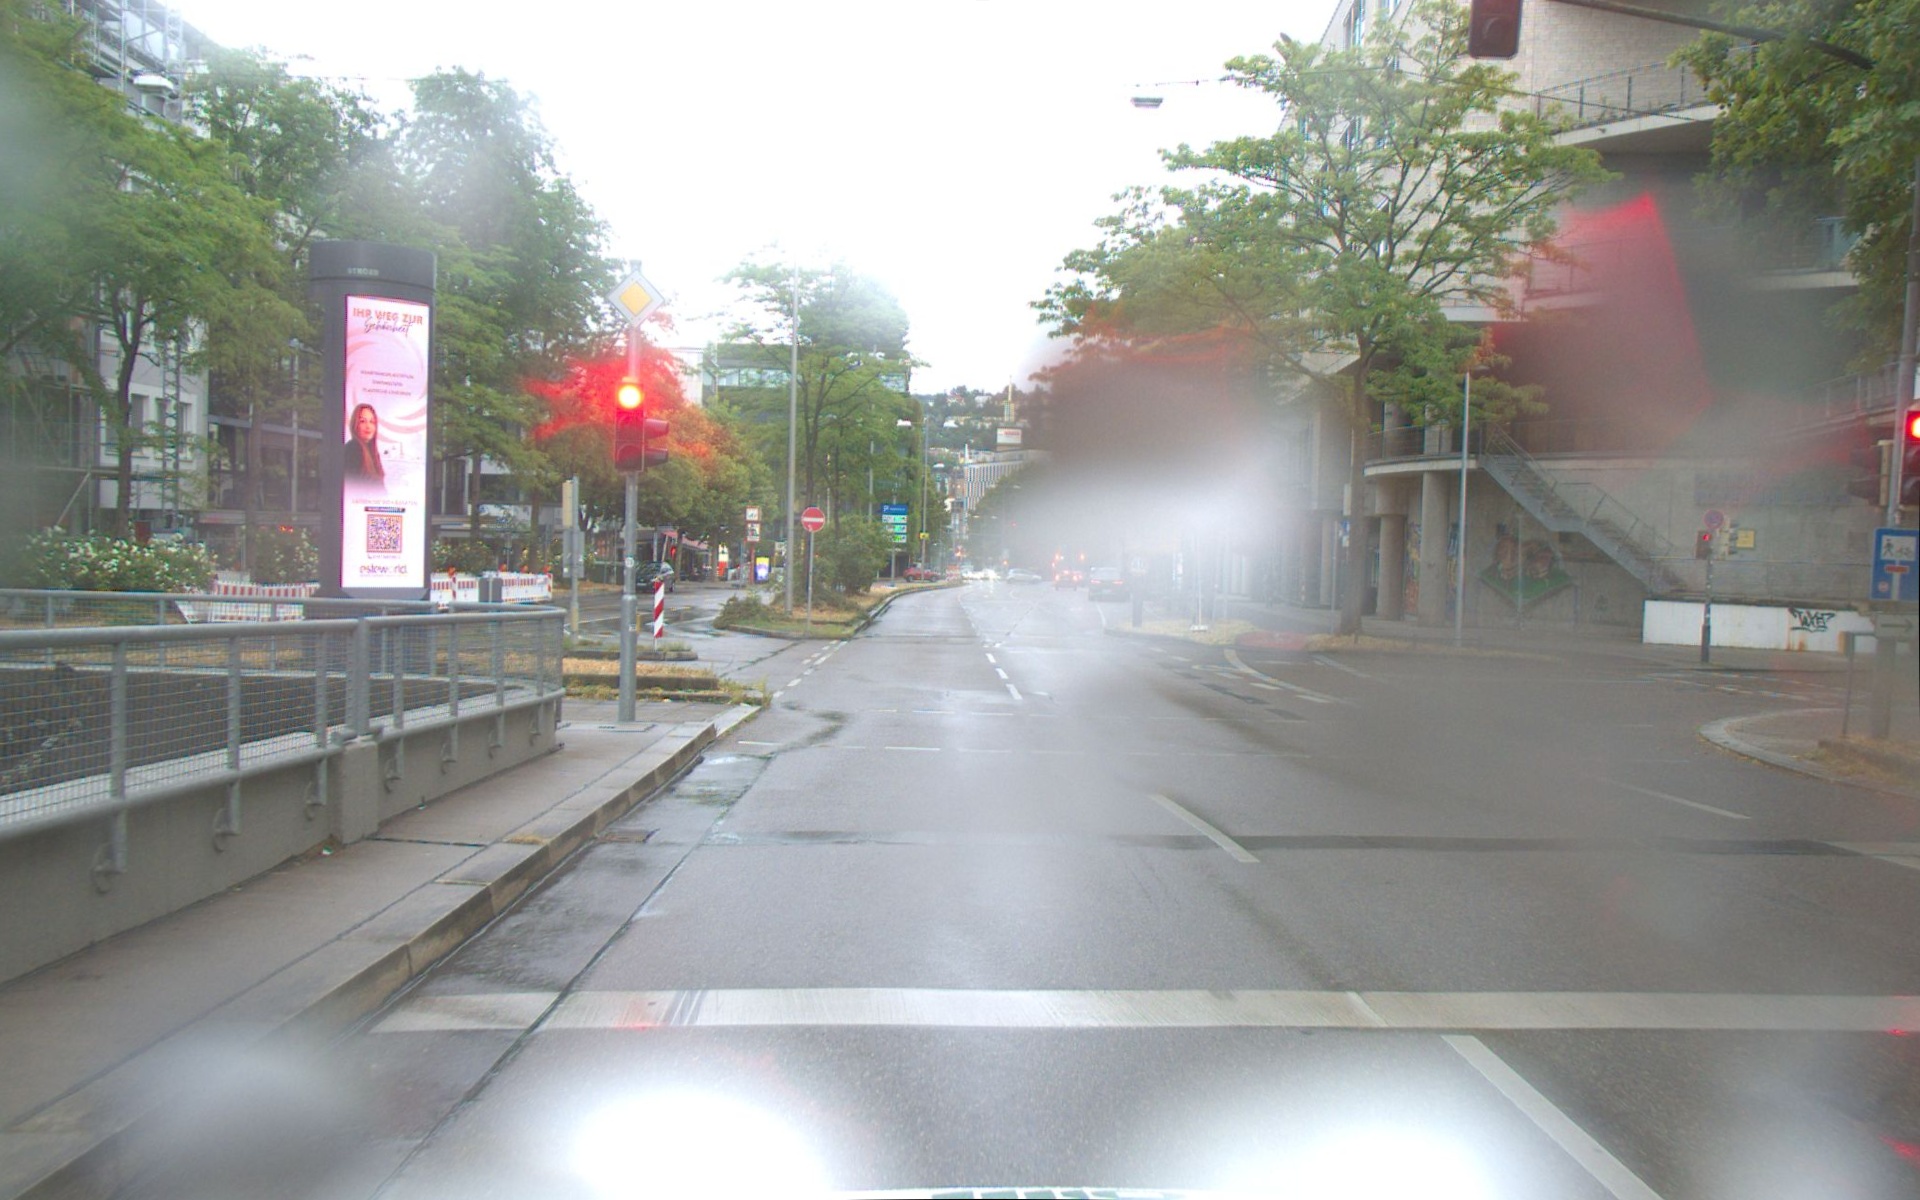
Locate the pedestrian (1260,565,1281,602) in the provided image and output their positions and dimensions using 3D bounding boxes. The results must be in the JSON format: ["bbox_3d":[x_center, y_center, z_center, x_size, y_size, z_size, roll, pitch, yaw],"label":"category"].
[{"bbox_3d":[13.532,-0.702,72.094,0.769,1.584,0.533,2,0,4],"label":"pedestrian"}]

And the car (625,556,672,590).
[{"bbox_3d":[-16.130,-1.425,85.756,1.744,1.582,3.893,2,2,-1],"label":"car"}]

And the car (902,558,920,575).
[{"bbox_3d":[-6.646,-4.557,226.605,2.084,2.202,5.199,2,0,2],"label":"car"}]

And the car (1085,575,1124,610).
[{"bbox_3d":[7.524,-0.396,86.354,1.861,1.713,3.912,2,0,3],"label":"car"}]

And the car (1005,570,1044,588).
[{"bbox_3d":[7.182,-2.323,183.966,3.979,1.938,1.951,2,0,-7],"label":"car"}]

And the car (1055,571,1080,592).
[{"bbox_3d":[8.679,-1.493,133.834,1.710,1.545,4.106,2,0,-1],"label":"car"}]

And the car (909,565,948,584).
[{"bbox_3d":[-3.492,-2.777,181.744,3.940,1.953,1.879,2,0,-13],"label":"car"}]
